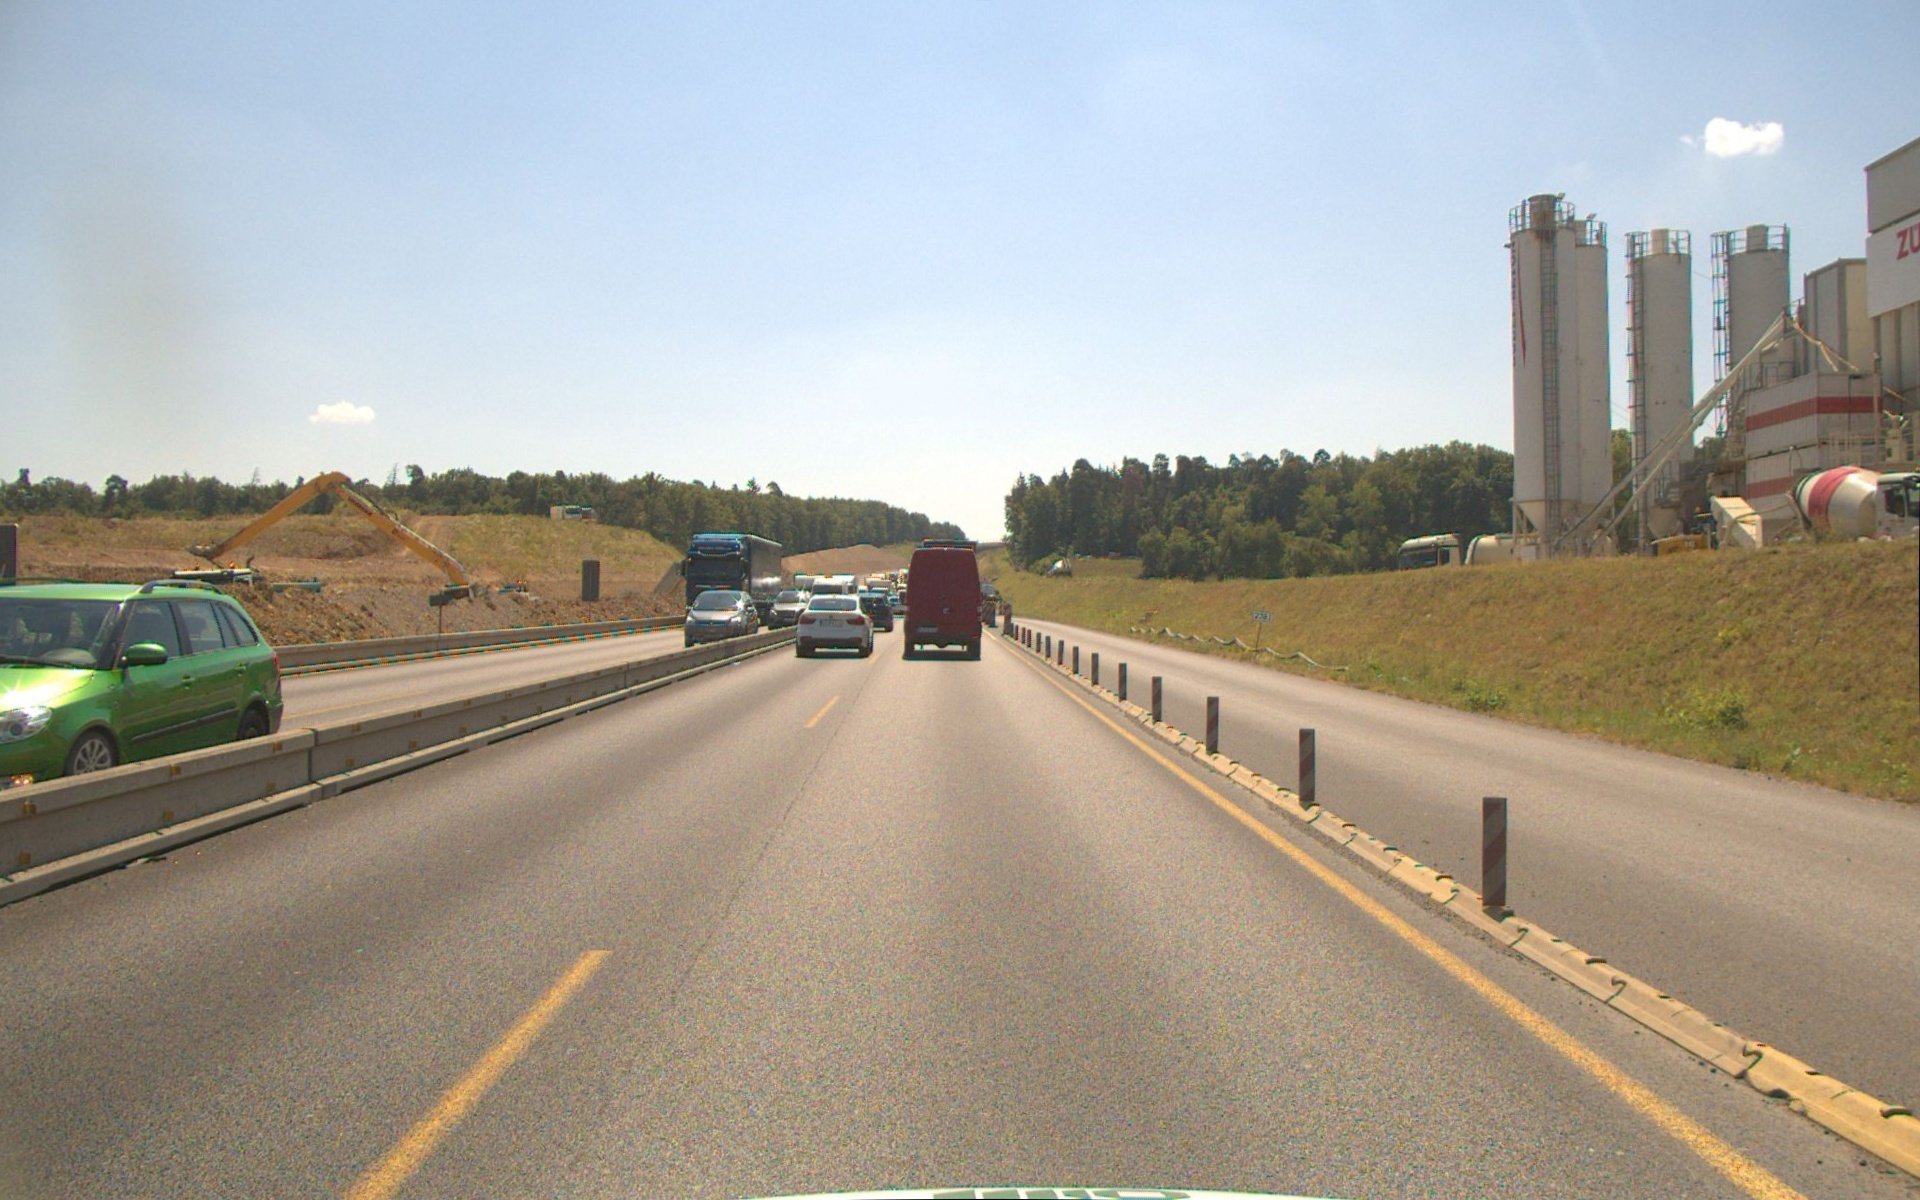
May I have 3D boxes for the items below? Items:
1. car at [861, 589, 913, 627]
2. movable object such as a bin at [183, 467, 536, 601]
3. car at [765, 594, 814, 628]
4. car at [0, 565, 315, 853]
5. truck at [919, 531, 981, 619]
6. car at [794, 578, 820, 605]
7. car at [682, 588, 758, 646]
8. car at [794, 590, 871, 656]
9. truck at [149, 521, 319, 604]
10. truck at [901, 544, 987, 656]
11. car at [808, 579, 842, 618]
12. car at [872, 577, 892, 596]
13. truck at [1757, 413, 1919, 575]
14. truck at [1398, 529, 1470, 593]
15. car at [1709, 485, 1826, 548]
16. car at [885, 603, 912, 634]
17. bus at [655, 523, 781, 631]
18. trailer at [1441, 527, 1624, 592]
[{"bbox_3d":[-3.074,0.326,70.154,1.757,1.561,3.933,0,0,4],"label":"car"},{"bbox_3d":[-33.603,-3.678,93.203,18.337,7.357,3.614,0,0,-3],"label":"movable object such as a bin"},{"bbox_3d":[-7.140,0.457,69.473,1.687,1.369,3.625,0,0,-1],"label":"car"},{"bbox_3d":[-5.985,0.598,11.300,1.570,1.607,4.167,0,0,-1],"label":"car"},{"bbox_3d":[-0.465,-1.223,83.608,2.954,4.225,8.272,0,0,0],"label":"truck"},{"bbox_3d":[-11.701,-0.629,126.503,1.727,2.049,3.826,0,0,-1],"label":"car"},{"bbox_3d":[-6.822,0.452,47.410,1.618,1.585,4.095,0,0,-1],"label":"car"},{"bbox_3d":[-3.184,0.546,42.081,1.759,1.561,5.071,1,0,-2],"label":"car"},{"bbox_3d":[-25.016,-1.230,57.477,2.268,2.663,8.409,0,0,-1],"label":"truck"},{"bbox_3d":[-0.354,-0.018,43.215,2.068,2.679,6.485,0,0,1],"label":"truck"},{"bbox_3d":[-7.787,-0.112,95.715,1.821,2.192,3.623,0,0,-3],"label":"car"},{"bbox_3d":[-8.216,-1.450,173.595,1.953,1.937,3.999,0,0,-1],"label":"car"},{"bbox_3d":[28.040,-2.987,50.246,3.363,4.371,9.931,0,0,3],"label":"truck"},{"bbox_3d":[24.486,-1.947,85.196,2.837,3.167,6.010,0,0,23],"label":"truck"},{"bbox_3d":[28.635,-2.919,58.795,1.953,2.049,4.427,0,0,-1],"label":"car"},{"bbox_3d":[-4.169,1.226,112.425,1.727,2.049,3.826,0,0,-1],"label":"car"},{"bbox_3d":[-11.062,-1.009,77.902,3.863,4.492,17.195,0,0,-2],"label":"bus"},{"bbox_3d":[30.085,-2.097,86.996,8.848,3.285,3.317,0,0,-16],"label":"trailer"}]
